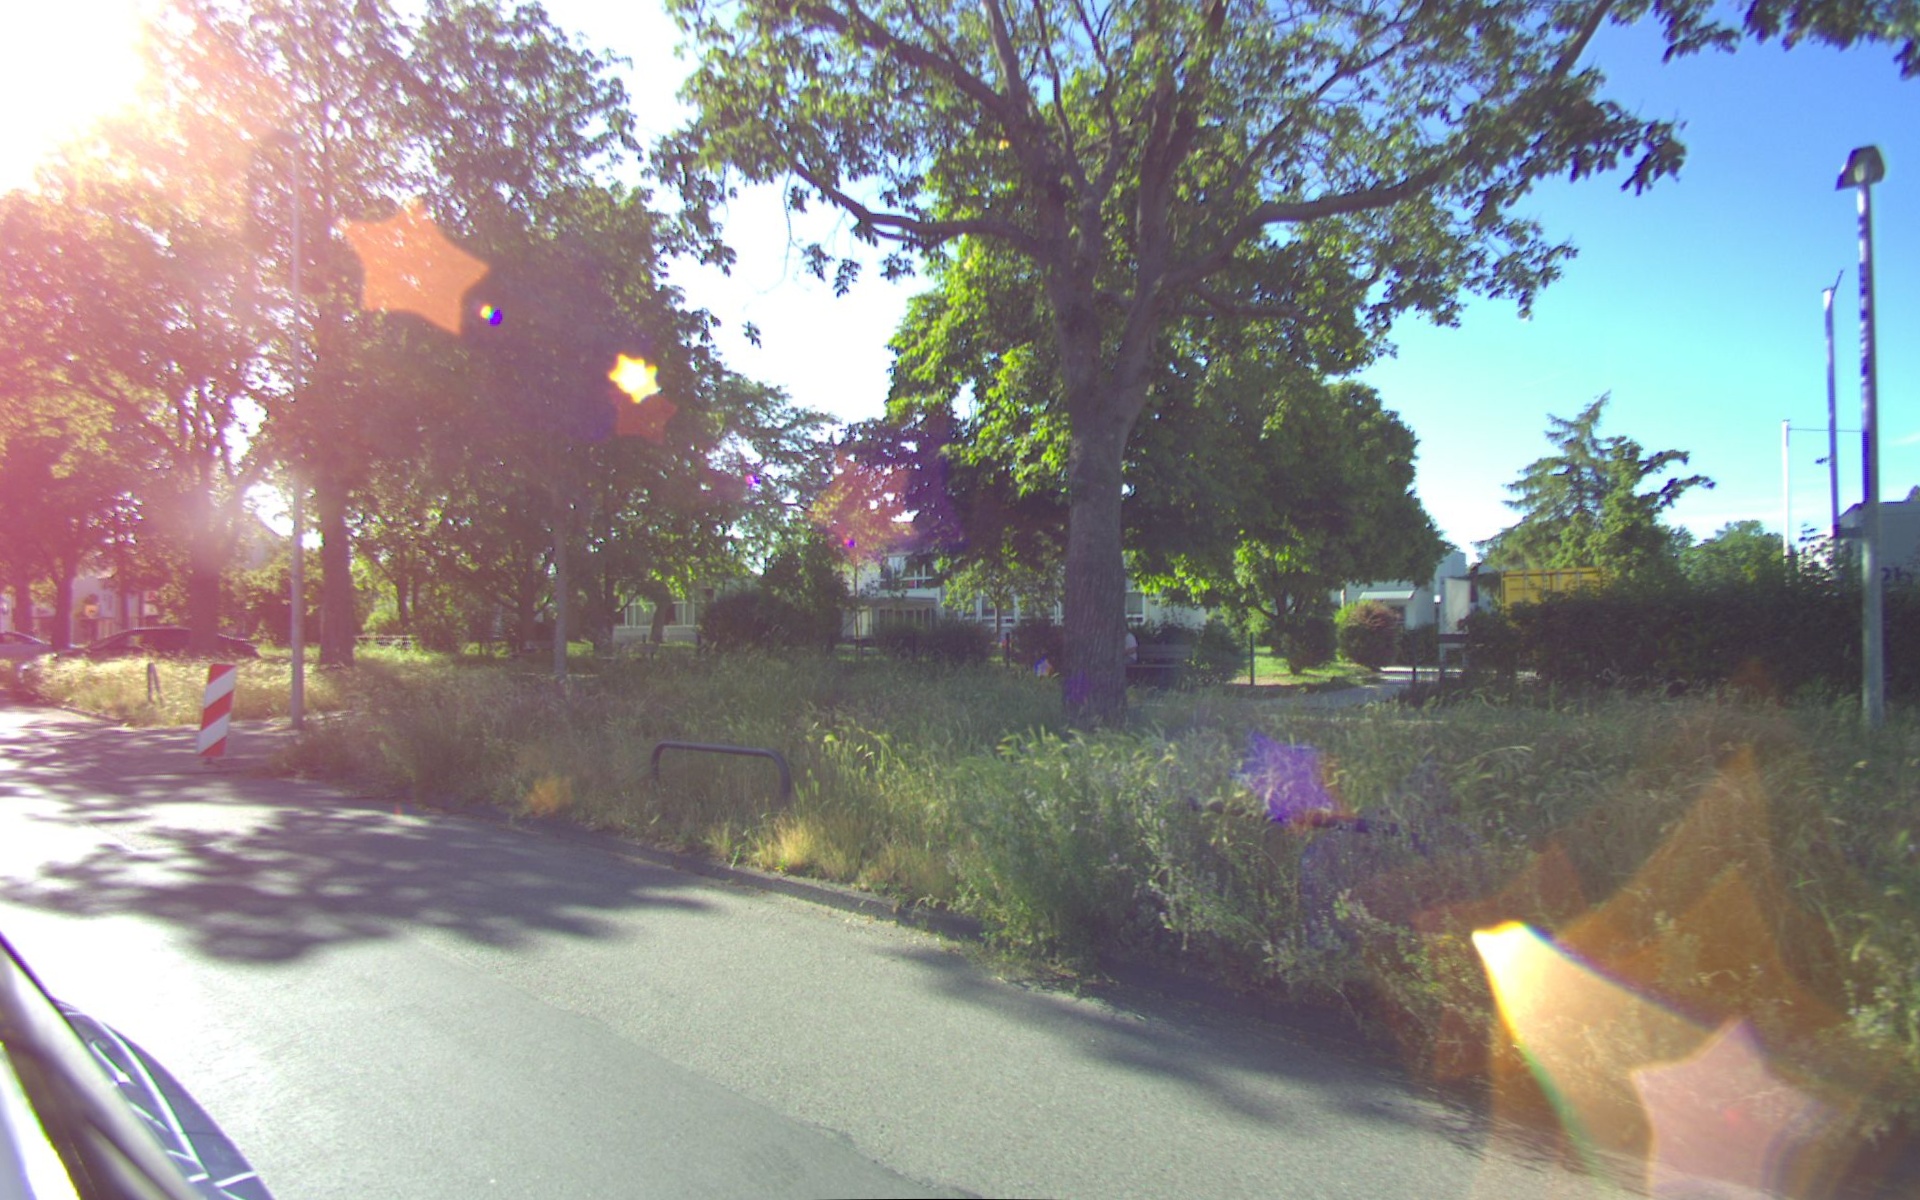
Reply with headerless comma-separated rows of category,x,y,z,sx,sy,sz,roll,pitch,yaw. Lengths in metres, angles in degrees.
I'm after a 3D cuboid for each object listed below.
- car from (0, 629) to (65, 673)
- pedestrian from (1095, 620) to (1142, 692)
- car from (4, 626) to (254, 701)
car,-36.295,1.926,37.718,1.998,1.573,4.151,-2,-1,40
pedestrian,2.695,0.937,17.204,0.521,1.166,0.632,-1,2,38
car,-20.643,1.505,25.311,1.998,1.573,4.558,-2,-1,40
